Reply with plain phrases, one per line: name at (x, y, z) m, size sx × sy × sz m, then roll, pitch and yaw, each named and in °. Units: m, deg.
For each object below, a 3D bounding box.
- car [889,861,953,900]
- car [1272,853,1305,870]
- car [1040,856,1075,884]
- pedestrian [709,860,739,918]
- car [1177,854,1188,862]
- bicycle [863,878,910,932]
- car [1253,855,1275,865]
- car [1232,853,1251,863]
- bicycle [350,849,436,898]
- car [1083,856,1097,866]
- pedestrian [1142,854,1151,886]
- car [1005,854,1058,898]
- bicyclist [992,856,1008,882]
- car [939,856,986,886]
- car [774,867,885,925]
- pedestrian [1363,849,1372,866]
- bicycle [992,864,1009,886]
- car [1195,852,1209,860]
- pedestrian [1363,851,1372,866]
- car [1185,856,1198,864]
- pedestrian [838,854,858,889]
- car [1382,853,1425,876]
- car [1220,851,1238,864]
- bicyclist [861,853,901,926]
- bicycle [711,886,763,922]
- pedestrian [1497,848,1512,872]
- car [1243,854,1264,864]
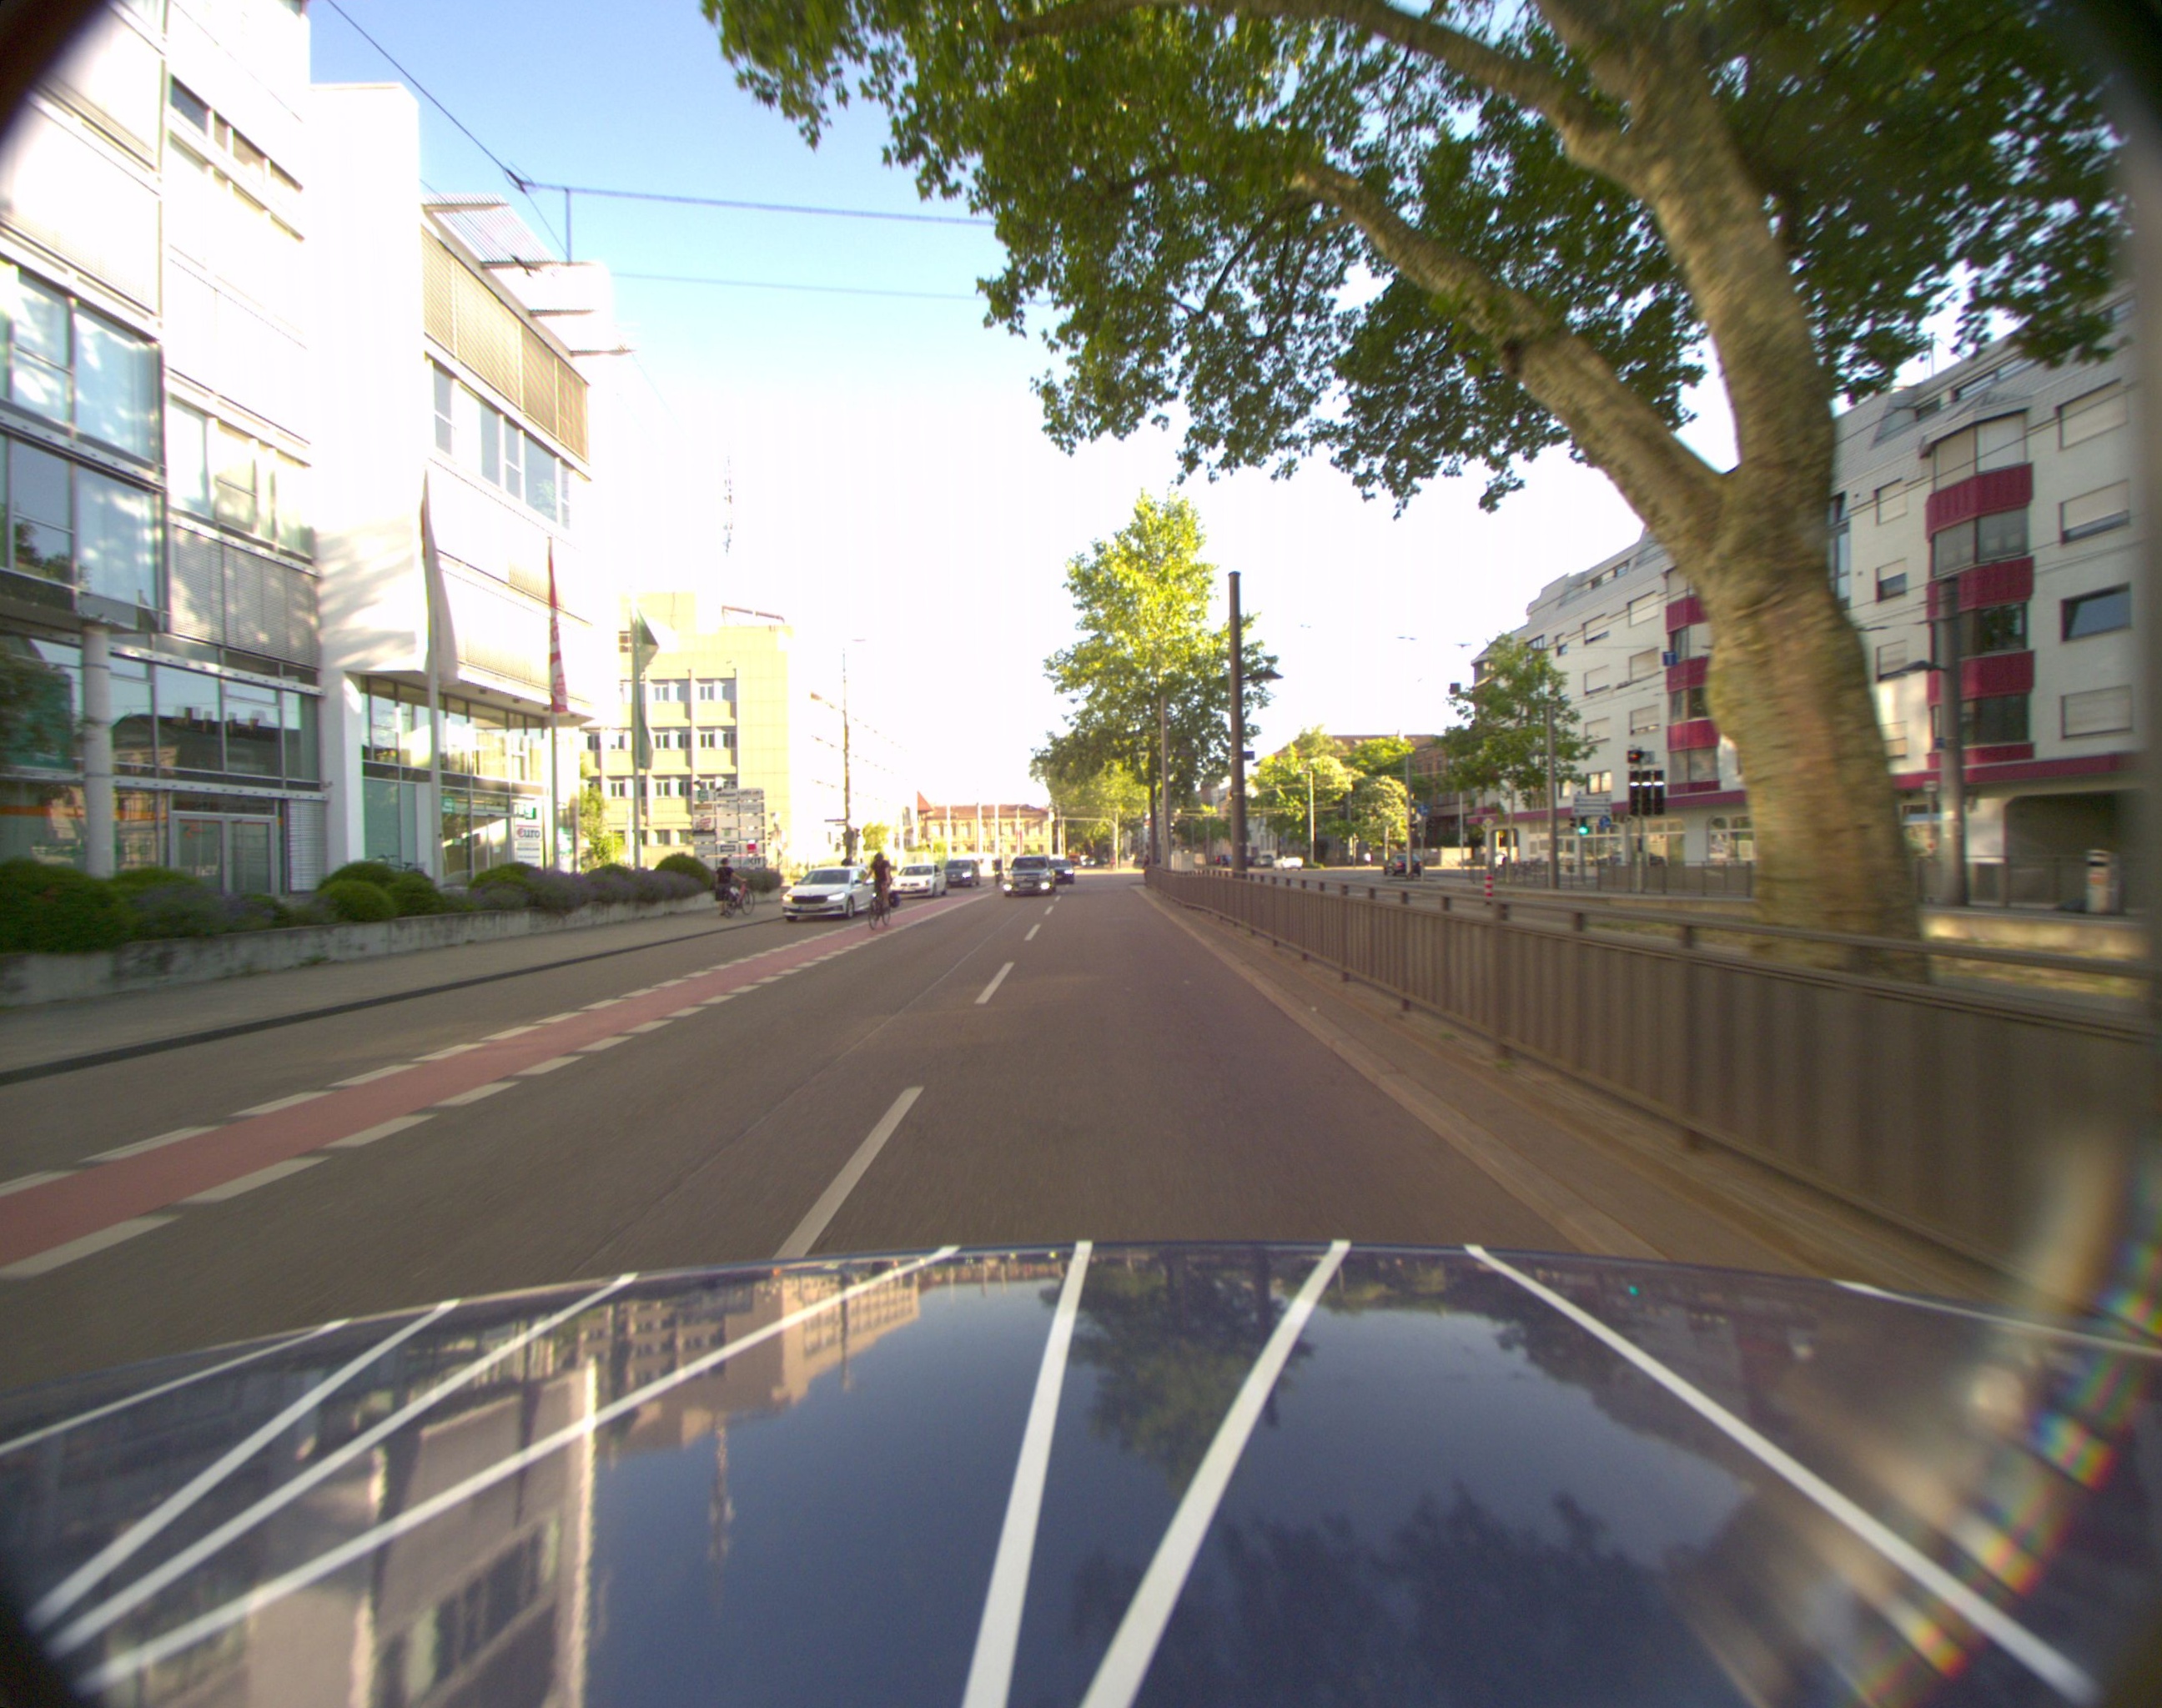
car at (-6.675, 1.079, 32.092) m, size 1.671 × 1.455 × 3.870 m, roll -1°, pitch 0°, yaw 4°
car at (19.259, 0.692, 70.646) m, size 1.998 × 1.455 × 4.000 m, roll -1°, pitch 0°, yaw 0°
car at (-1.305, 0.855, 42.776) m, size 1.827 × 1.416 × 4.345 m, roll -2°, pitch 0°, yaw -1°
pedestrian at (-9.998, 0.976, 21.275) m, size 0.527 × 1.573 × 0.589 m, roll 1°, pitch 1°, yaw 2°
car at (22.202, 0.845, 166.373) m, size 1.895 × 1.552 × 4.000 m, roll -1°, pitch 0°, yaw 0°
bicycle at (-4.599, 1.178, 18.084) m, size 0.551 × 1.114 × 2.127 m, roll -1°, pitch 0°, yaw 0°
car at (23.040, 0.743, 95.703) m, size 1.895 × 1.259 × 4.000 m, roll -1°, pitch 0°, yaw 0°
car at (22.872, 0.576, 108.486) m, size 1.895 × 1.259 × 4.000 m, roll -1°, pitch 0°, yaw 0°
bicycle at (-20.387, 0.572, 22.514) m, size 2.425 × 1.419 × 0.758 m, roll -1°, pitch 1°, yaw 18°
car at (1.353, 1.108, 116.353) m, size 1.827 × 1.416 × 4.345 m, roll -2°, pitch 0°, yaw -1°
pedestrian at (3.182, 0.760, 37.097) m, size 0.389 × 1.558 × 0.336 m, roll -1°, pitch 1°, yaw 6°
car at (-1.931, 0.819, 30.762) m, size 1.785 × 1.628 × 4.022 m, roll -1°, pitch 0°, yaw 1°
bicyclist at (-4.355, 0.801, 40.887) m, size 0.685 × 1.372 × 0.867 m, roll -1°, pitch 1°, yaw 0°
car at (-6.758, 0.959, 43.611) m, size 1.998 × 1.586 × 4.000 m, roll -1°, pitch 0°, yaw 0°
car at (-7.057, 1.117, 21.767) m, size 1.786 × 1.411 × 4.021 m, roll -1°, pitch 0°, yaw 0°
pedestrian at (28.598, 0.374, 75.760) m, size 0.602 × 1.694 × 0.670 m, roll -1°, pitch 2°, yaw 39°
bicycle at (-4.344, 1.114, 40.924) m, size 0.666 × 1.118 × 1.874 m, roll -1°, pitch 0°, yaw 1°
car at (21.831, 0.319, 137.685) m, size 1.895 × 1.470 × 4.000 m, roll -1°, pitch 0°, yaw 0°
pedestrian at (28.505, 0.480, 75.536) m, size 0.589 × 1.498 × 0.650 m, roll 0°, pitch 1°, yaw 41°
car at (22.510, 1.192, 154.930) m, size 1.895 × 1.552 × 4.000 m, roll -1°, pitch 0°, yaw 0°
pedestrian at (-10.875, 0.803, 35.506) m, size 0.693 × 1.573 × 0.664 m, roll 1°, pitch 1°, yaw 2°
car at (20.537, 0.647, 48.520) m, size 1.648 × 1.346 × 3.903 m, roll -1°, pitch 0°, yaw 9°
car at (22.232, 0.464, 114.062) m, size 1.862 × 1.827 × 3.913 m, roll -2°, pitch 1°, yaw 0°
bicyclist at (-4.713, 0.818, 17.918) m, size 0.752 × 1.678 × 0.714 m, roll -1°, pitch 1°, yaw -2°
bicycle at (-9.588, 1.380, 21.243) m, size 0.499 × 0.841 × 1.903 m, roll 3°, pitch 0°, yaw 1°
pedestrian at (29.458, 0.411, 52.882) m, size 0.668 × 1.614 × 0.800 m, roll -2°, pitch 1°, yaw 9°
car at (23.195, 0.646, 102.336) m, size 1.895 × 1.259 × 4.000 m, roll -1°, pitch 0°, yaw 0°
